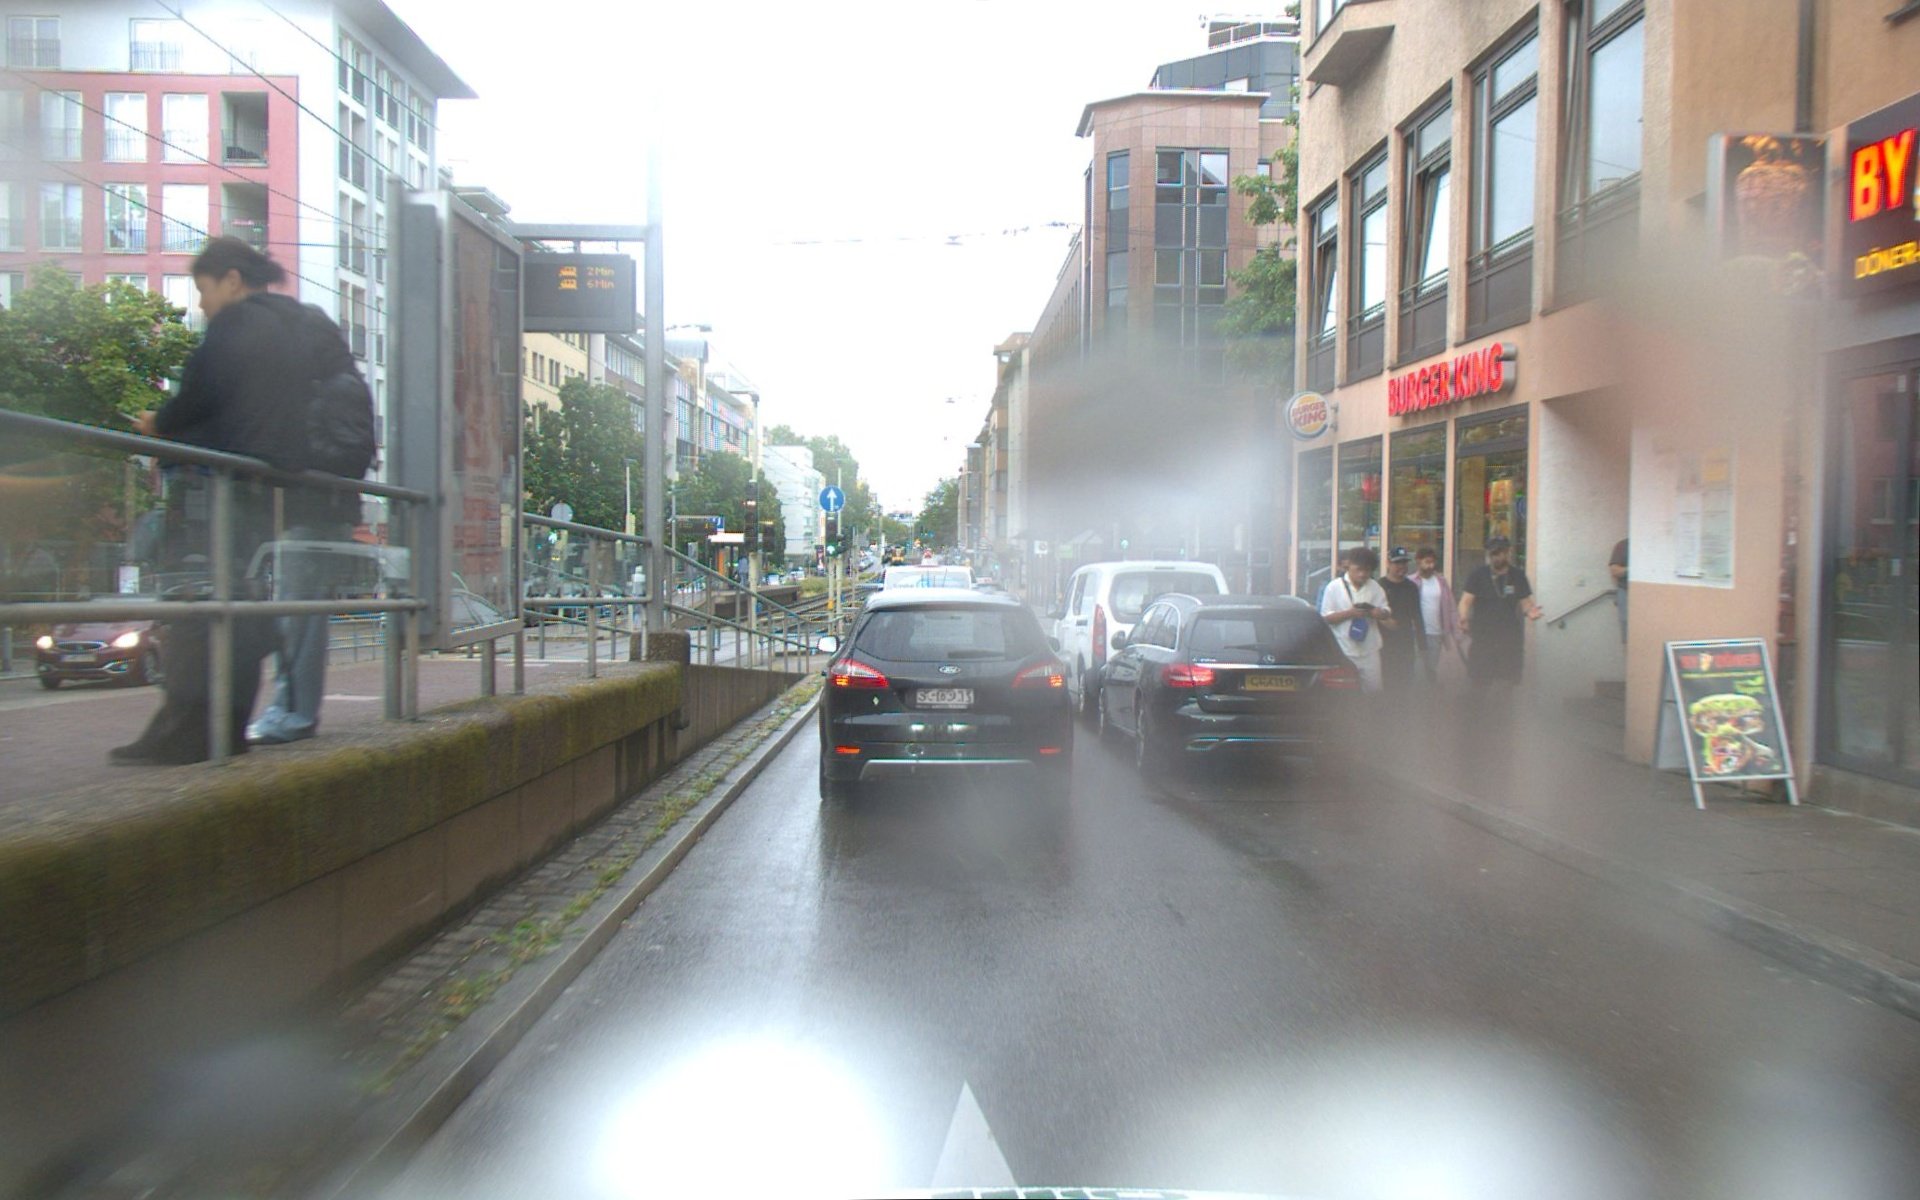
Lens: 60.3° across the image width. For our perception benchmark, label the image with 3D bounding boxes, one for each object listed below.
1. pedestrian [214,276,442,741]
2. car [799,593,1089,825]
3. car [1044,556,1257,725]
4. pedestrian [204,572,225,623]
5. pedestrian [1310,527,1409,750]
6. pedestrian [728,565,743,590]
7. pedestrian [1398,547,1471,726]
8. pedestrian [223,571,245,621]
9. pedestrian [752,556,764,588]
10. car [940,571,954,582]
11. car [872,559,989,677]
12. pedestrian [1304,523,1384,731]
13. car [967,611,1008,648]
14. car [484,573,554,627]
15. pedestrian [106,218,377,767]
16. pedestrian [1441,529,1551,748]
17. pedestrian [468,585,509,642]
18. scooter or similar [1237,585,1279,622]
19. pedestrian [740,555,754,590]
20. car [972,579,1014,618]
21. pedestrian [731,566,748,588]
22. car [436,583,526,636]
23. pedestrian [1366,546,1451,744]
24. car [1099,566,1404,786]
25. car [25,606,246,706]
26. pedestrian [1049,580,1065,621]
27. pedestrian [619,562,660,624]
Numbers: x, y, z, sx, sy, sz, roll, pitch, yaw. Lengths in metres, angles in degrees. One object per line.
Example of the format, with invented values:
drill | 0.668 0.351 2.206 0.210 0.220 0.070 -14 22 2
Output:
pedestrian | -2.271 -0.317 6.008 0.572 1.585 0.700 -1 0 -3
car | -0.119 0.691 12.366 1.868 1.488 3.444 0 0 -1
car | 2.201 0.430 20.446 1.868 1.838 4.775 0 0 -3
pedestrian | -24.949 -0.086 55.342 0.571 1.660 0.606 1 0 -27
pedestrian | 3.464 0.327 14.380 0.681 1.887 0.652 -1 0 0
pedestrian | -11.576 -1.152 85.179 0.679 1.271 0.884 0 1 -3
pedestrian | 4.709 0.354 16.430 0.564 1.744 0.477 -1 0 0
pedestrian | -24.272 -0.133 55.303 0.540 1.660 0.567 1 0 -37
pedestrian | -11.766 -1.648 96.419 0.642 1.833 0.849 0 1 -3
car | -1.882 -3.391 240.319 1.867 1.662 4.573 0 0 0
car | -0.498 0.273 28.936 1.868 1.897 4.573 0 0 -1
pedestrian | 3.720 0.256 16.059 0.638 1.982 0.533 -1 0 0
car | 1.199 1.302 74.104 1.664 1.487 3.866 -2 0 -1
car | -16.242 -0.038 61.093 1.673 1.890 4.318 0 1 -3
pedestrian | -2.272 -0.325 5.300 0.572 1.637 0.700 -1 0 -3
pedestrian | 4.627 0.326 14.309 0.740 1.851 0.588 -1 0 0
pedestrian | -14.268 0.396 50.067 0.861 1.659 0.807 1 3 21
scooter or similar | 10.135 0.115 56.291 1.345 1.248 0.325 -1 0 2
pedestrian | -10.620 -1.354 82.431 0.642 1.741 0.849 0 1 -3
car | 1.347 -0.066 69.437 1.664 1.505 3.867 -2 0 0
pedestrian | -11.658 -1.210 87.417 0.876 1.143 0.847 0 1 -12
car | -16.064 0.284 55.662 1.690 1.640 4.553 0 1 0
pedestrian | 4.039 0.395 14.929 0.598 1.744 0.581 -1 0 0
car | 2.371 0.557 14.599 1.868 1.644 4.413 0 0 -1
car | -13.570 0.862 27.532 1.658 1.488 4.527 0 0 -4
pedestrian | 3.981 0.007 67.954 0.589 1.688 0.625 -1 0 -1
pedestrian | -10.682 -0.229 55.156 1.093 2.049 1.383 -1 0 -1
